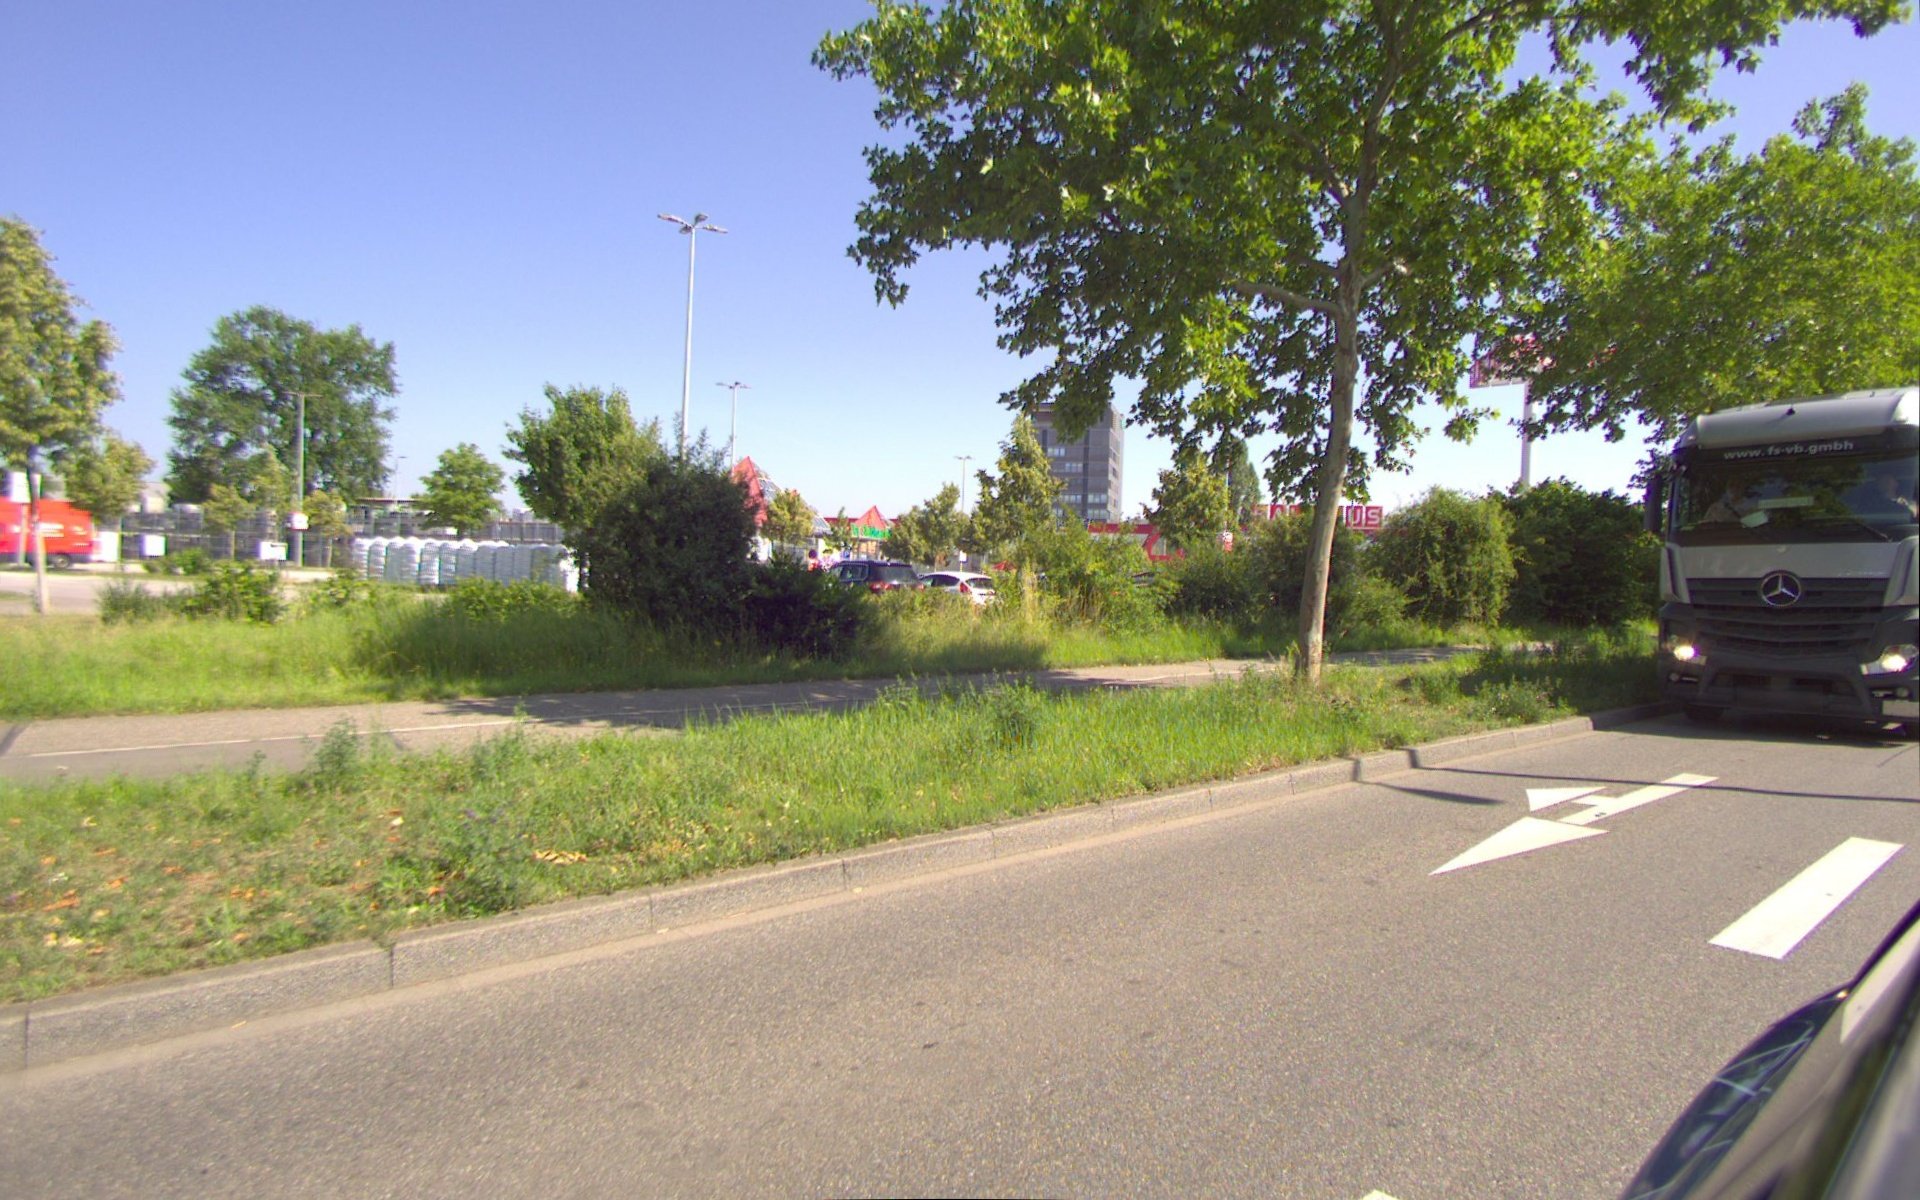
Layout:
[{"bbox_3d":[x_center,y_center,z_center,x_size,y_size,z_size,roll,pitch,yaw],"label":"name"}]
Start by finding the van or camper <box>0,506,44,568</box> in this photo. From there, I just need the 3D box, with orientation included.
[{"bbox_3d":[-48.815,-3.131,48.623,1.971,2.979,7.253,0,0,15],"label":"van or camper"}]

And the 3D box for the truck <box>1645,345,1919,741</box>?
[{"bbox_3d":[12.296,-0.634,13.502,8.564,3.938,2.737,-1,2,-38],"label":"truck"}]

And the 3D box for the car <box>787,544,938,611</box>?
[{"bbox_3d":[-2.619,-0.565,26.494,1.850,1.611,4.075,-1,0,-43],"label":"car"}]

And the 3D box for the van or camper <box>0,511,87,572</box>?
[{"bbox_3d":[-45.384,-2.747,47.210,1.971,2.739,7.253,0,0,15],"label":"van or camper"}]

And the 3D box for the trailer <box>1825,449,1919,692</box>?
[{"bbox_3d":[18.602,-0.509,18.558,7.596,3.925,2.743,-1,2,-39],"label":"trailer"}]

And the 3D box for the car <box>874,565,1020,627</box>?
[{"bbox_3d":[-0.427,-0.132,28.443,1.850,1.611,4.075,-1,0,-43],"label":"car"}]
